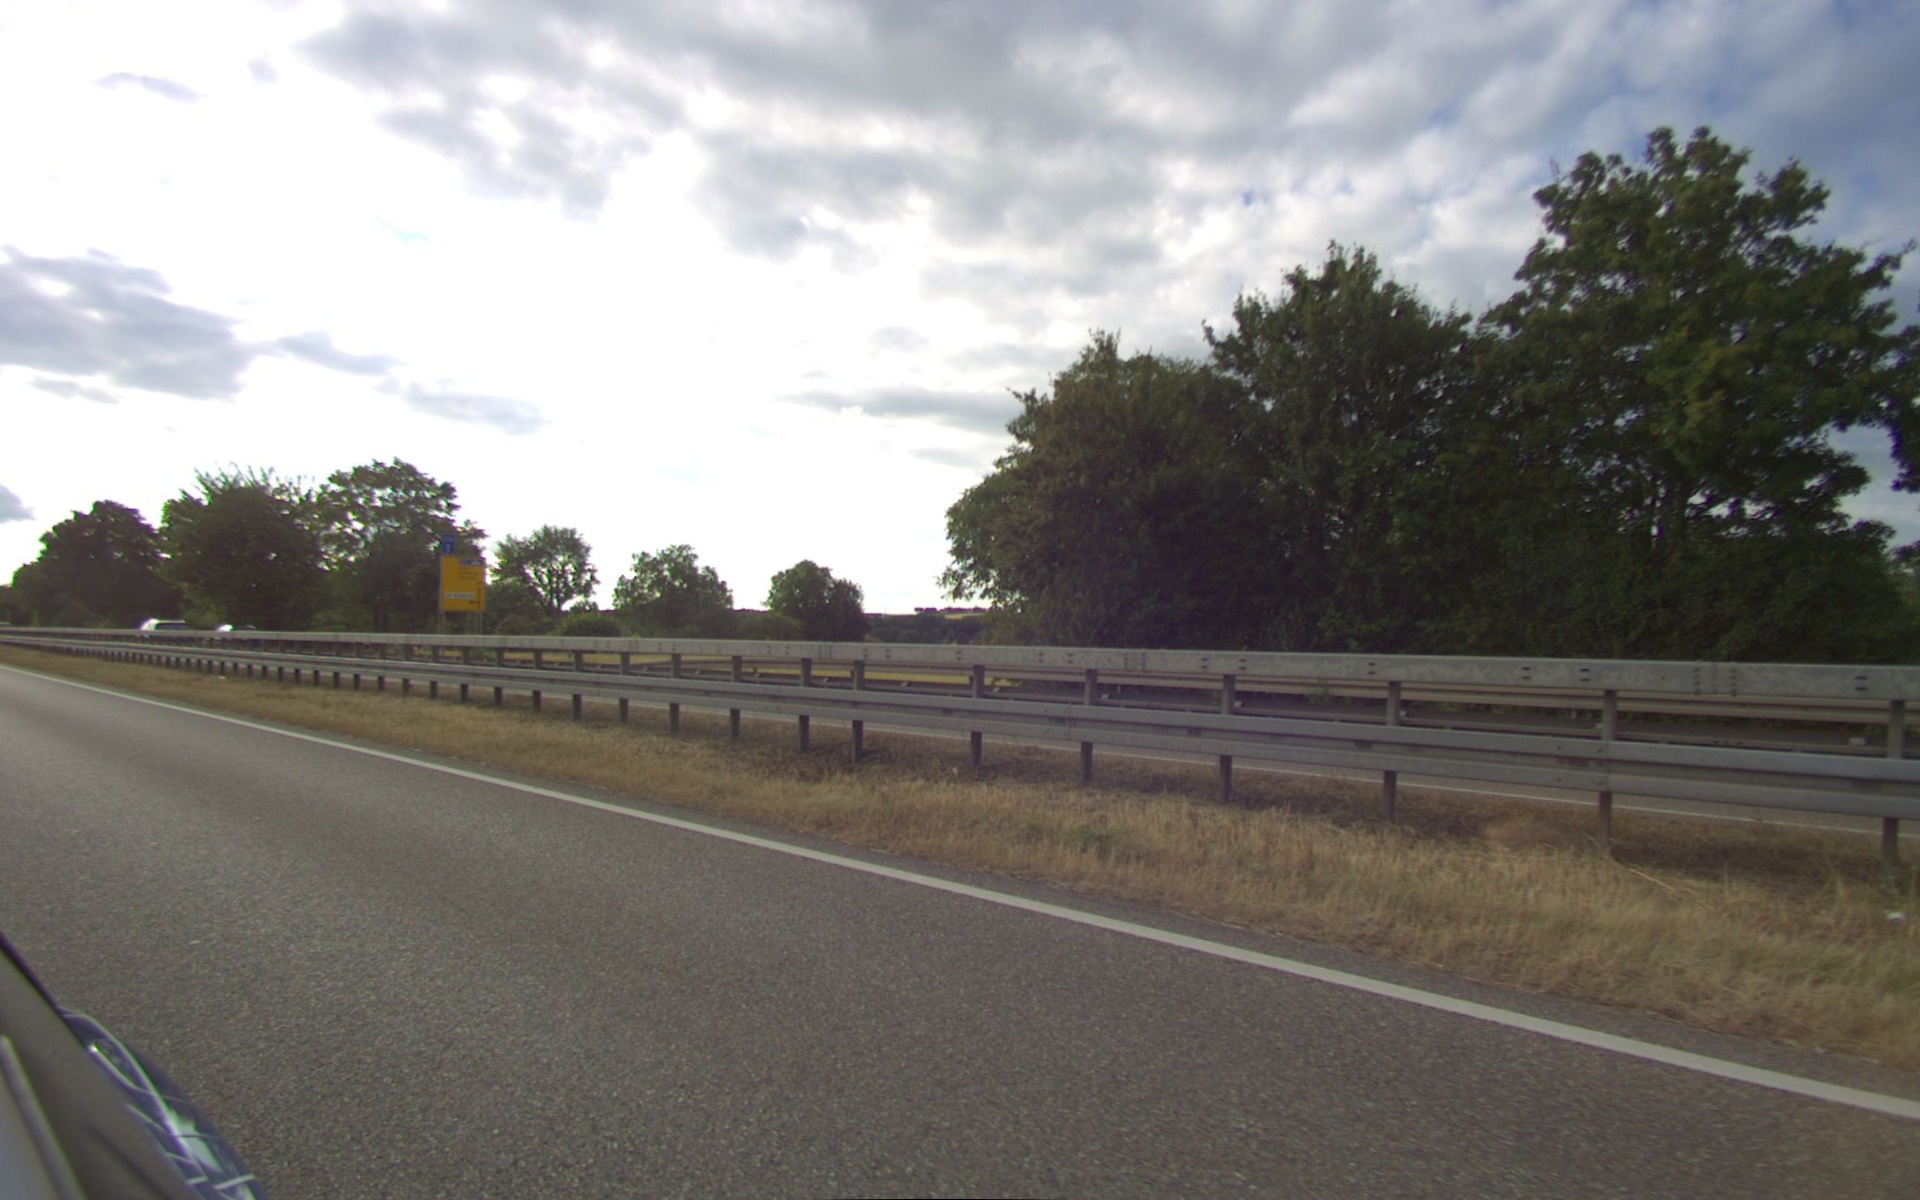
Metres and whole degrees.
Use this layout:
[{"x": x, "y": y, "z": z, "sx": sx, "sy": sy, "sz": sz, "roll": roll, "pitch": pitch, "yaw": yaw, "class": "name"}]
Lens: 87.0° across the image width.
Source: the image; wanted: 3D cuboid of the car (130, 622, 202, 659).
[{"x": -37.166, "y": 1.894, "z": 47.323, "sx": 4.374, "sy": 1.627, "sz": 1.779, "roll": -1, "pitch": -4, "yaw": 41, "class": "car"}]

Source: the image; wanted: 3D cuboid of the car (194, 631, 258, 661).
[{"x": -39.638, "y": 2.474, "z": 54.612, "sx": 4.459, "sy": 1.489, "sz": 1.887, "roll": -1, "pitch": -1, "yaw": 41, "class": "car"}]
